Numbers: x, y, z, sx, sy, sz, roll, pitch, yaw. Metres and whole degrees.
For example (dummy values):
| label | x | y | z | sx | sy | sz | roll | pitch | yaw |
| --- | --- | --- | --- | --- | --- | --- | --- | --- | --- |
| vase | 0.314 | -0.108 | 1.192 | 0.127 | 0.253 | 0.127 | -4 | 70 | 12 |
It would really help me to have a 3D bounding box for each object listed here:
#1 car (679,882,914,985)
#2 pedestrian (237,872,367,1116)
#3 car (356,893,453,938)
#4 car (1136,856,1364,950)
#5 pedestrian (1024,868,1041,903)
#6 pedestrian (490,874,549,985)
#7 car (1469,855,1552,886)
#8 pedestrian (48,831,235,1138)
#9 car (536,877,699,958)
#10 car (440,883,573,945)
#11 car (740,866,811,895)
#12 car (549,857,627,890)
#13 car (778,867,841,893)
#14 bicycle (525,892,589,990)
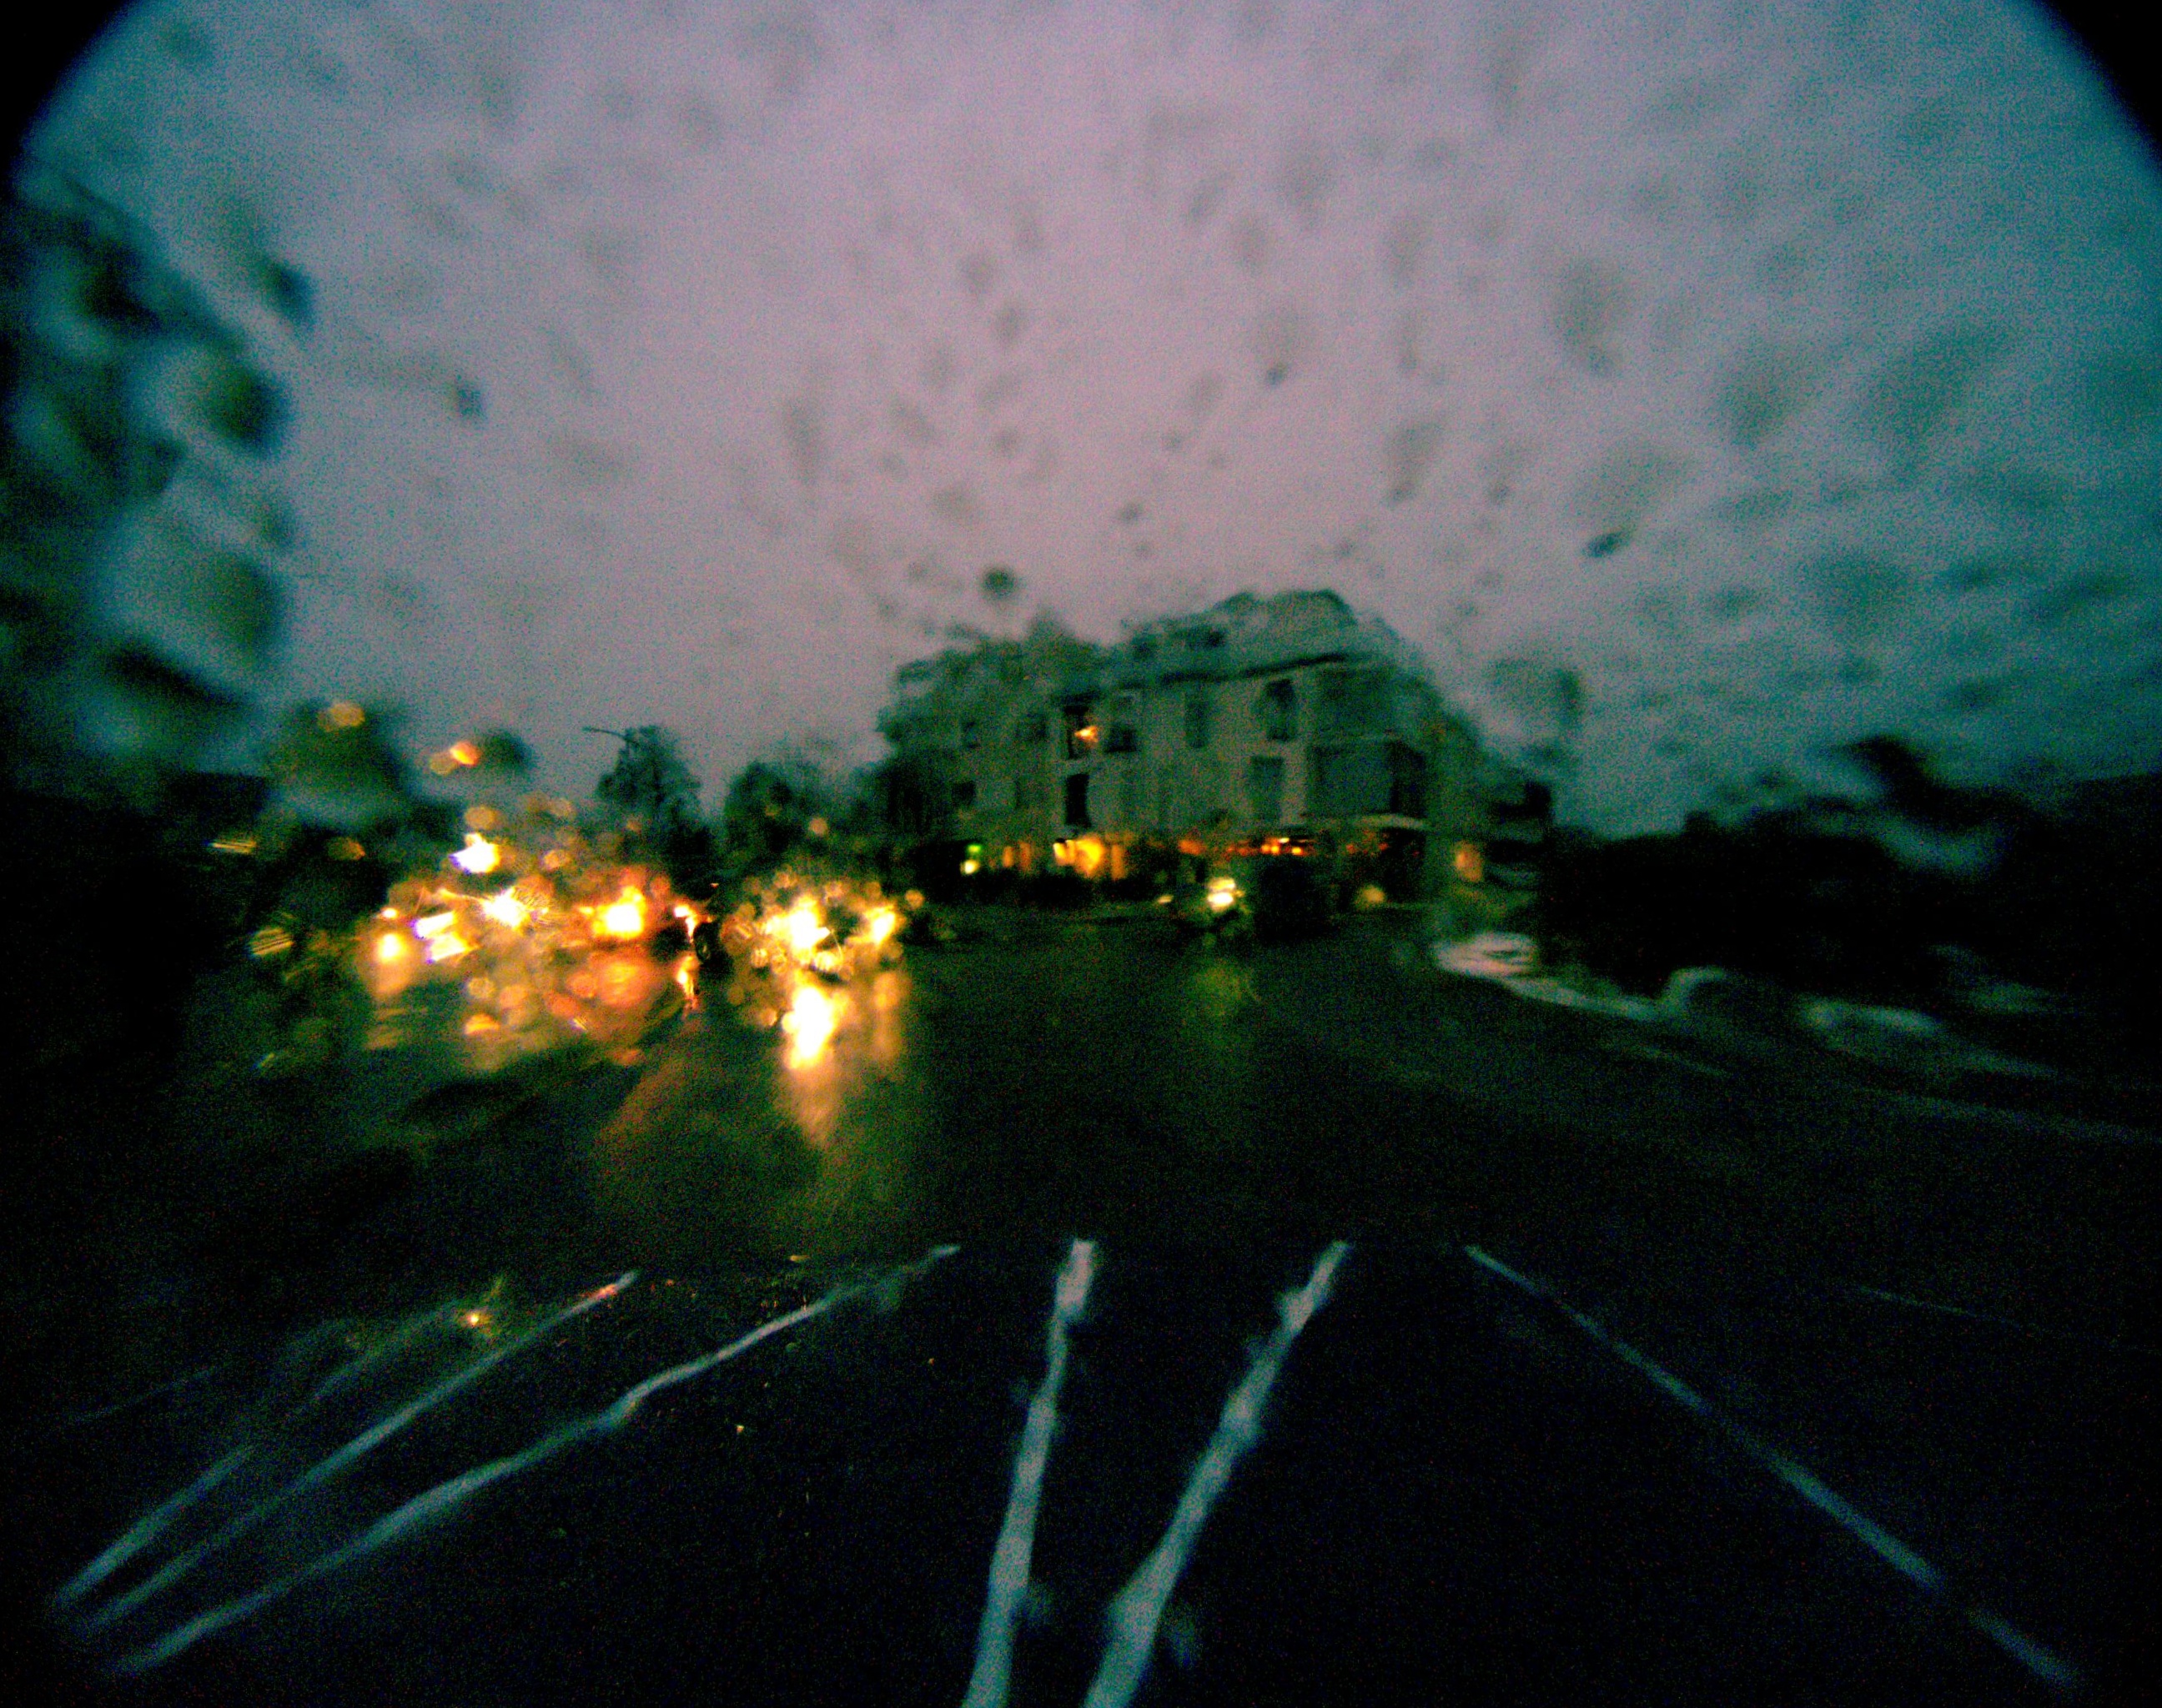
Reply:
| label | x | y | z | sx | sy | sz | roll | pitch | yaw |
| --- | --- | --- | --- | --- | --- | --- | --- | --- | --- |
| car | -5.016 | 1.246 | 13.155 | 4.223 | 1.376 | 1.854 | -2 | 2 | 39 |
| pedestrian | -5.587 | 0.940 | 5.491 | 0.584 | 1.611 | 0.715 | 2 | -2 | -43 |
| car | -22.741 | 2.028 | 25.512 | 3.668 | 1.321 | 1.567 | -1 | -1 | 34 |
| car | 3.570 | 0.899 | 15.659 | 4.640 | 1.583 | 1.949 | -1 | 0 | -36 |
| pedestrian | -2.021 | 1.304 | 31.727 | 0.451 | 1.446 | 0.554 | -1 | 0 | 25 |
| pedestrian | -8.216 | 1.069 | 11.143 | 0.611 | 1.555 | 0.690 | 0 | -1 | -29 |
| car | 24.344 | 0.897 | 43.246 | 3.989 | 1.495 | 1.816 | 2 | 3 | 27 |
| pedestrian | -6.123 | 0.791 | 5.001 | 0.639 | 1.820 | 0.715 | 2 | -2 | -43 |
| car | -10.588 | 1.362 | 17.289 | 3.989 | 1.543 | 1.700 | -2 | 1 | 36 |
| car | -16.071 | 1.601 | 21.187 | 4.246 | 1.499 | 1.700 | -1 | 0 | 35 |
| car | -17.138 | 1.505 | 42.568 | 3.757 | 1.507 | 1.719 | -2 | 0 | 31 |
| car | -31.535 | 1.255 | 48.580 | 4.846 | 2.002 | 2.218 | -2 | 0 | 31 |
| car | -16.091 | 1.520 | 44.949 | 3.435 | 1.465 | 1.522 | -1 | -1 | 26 |
| bicycle | -7.754 | 1.231 | 11.306 | 0.552 | 1.288 | 1.938 | 1 | -2 | -28 |
